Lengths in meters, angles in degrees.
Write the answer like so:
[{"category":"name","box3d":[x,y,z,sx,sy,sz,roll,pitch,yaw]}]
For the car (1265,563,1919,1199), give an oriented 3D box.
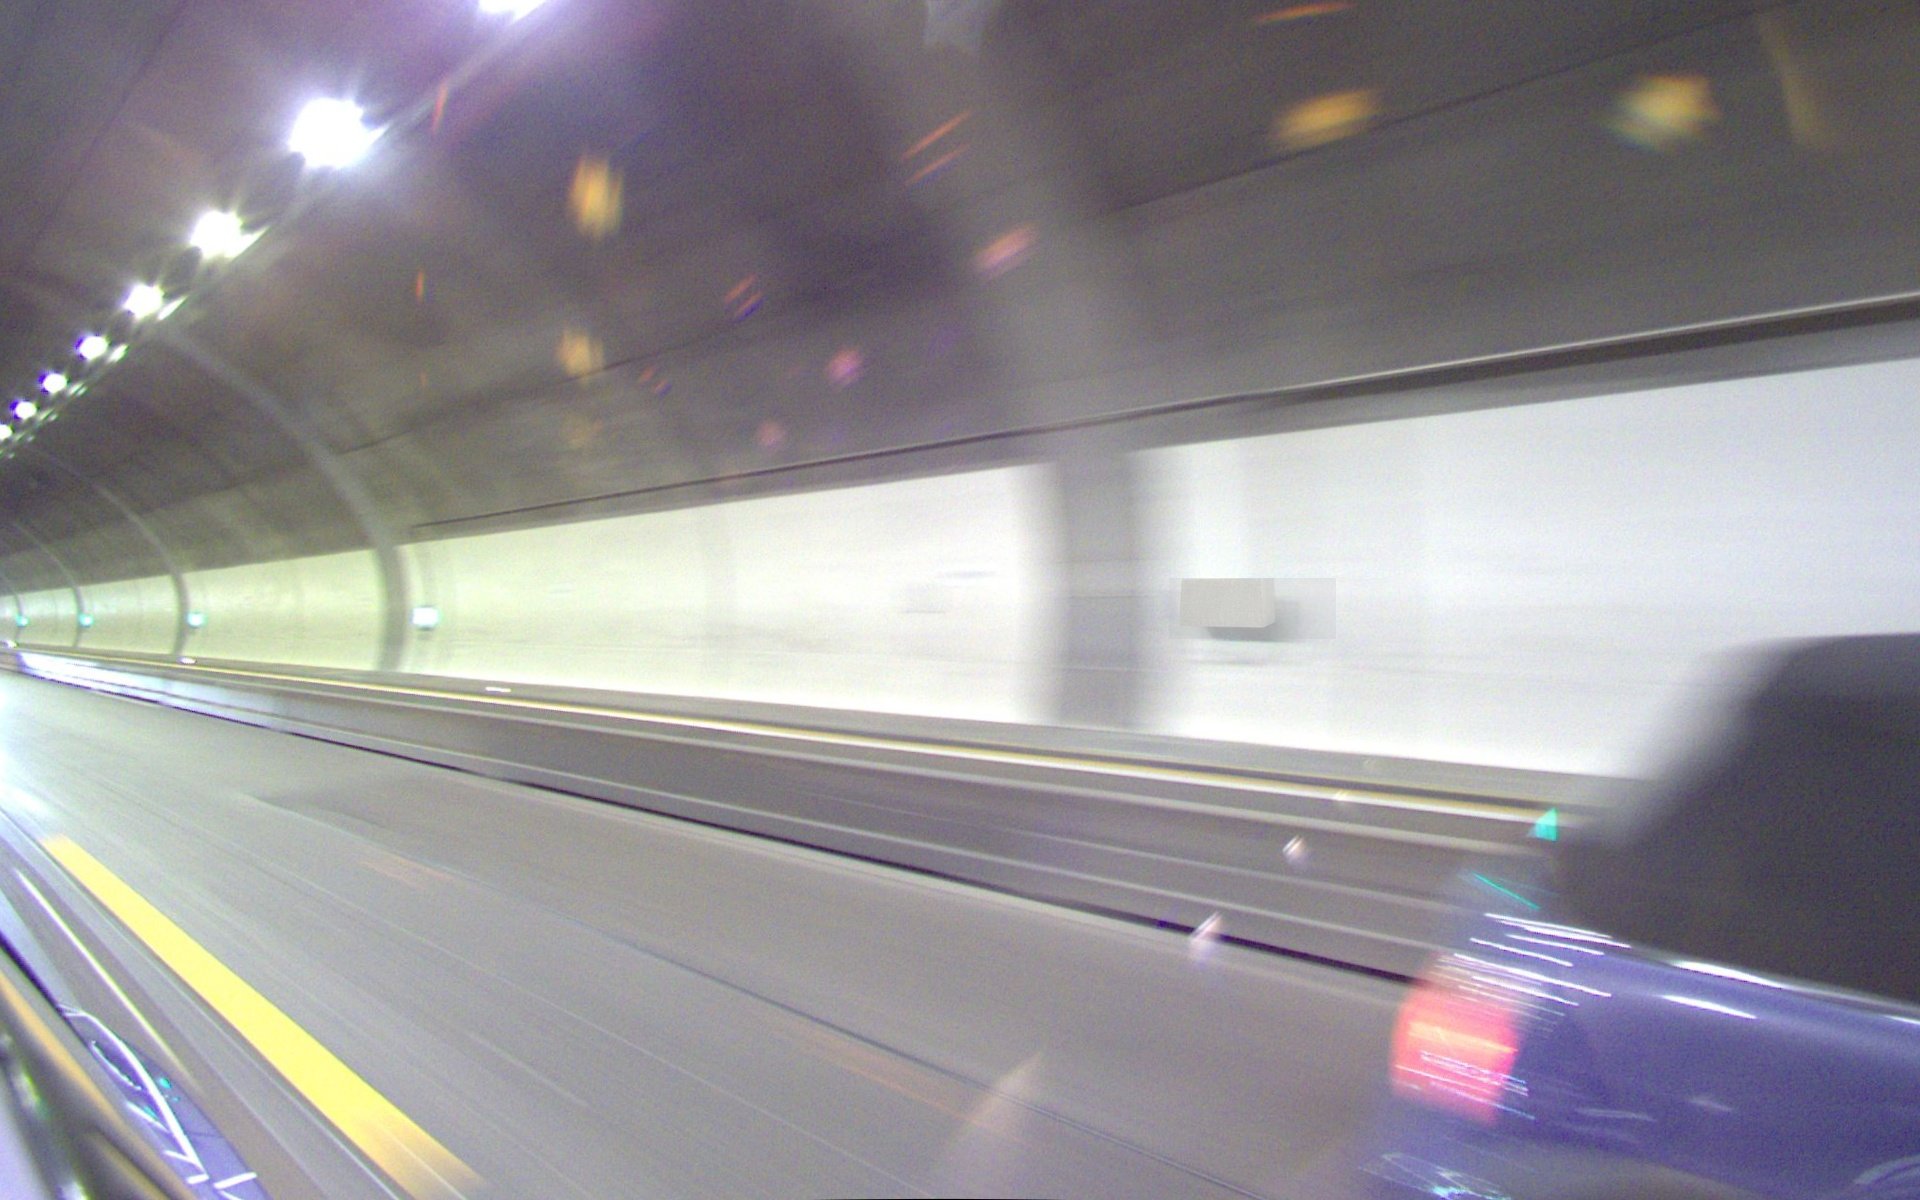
[{"category":"car","box3d":[2.511,0.645,0.944,3.920,1.428,1.672,-1,0,41]}]
